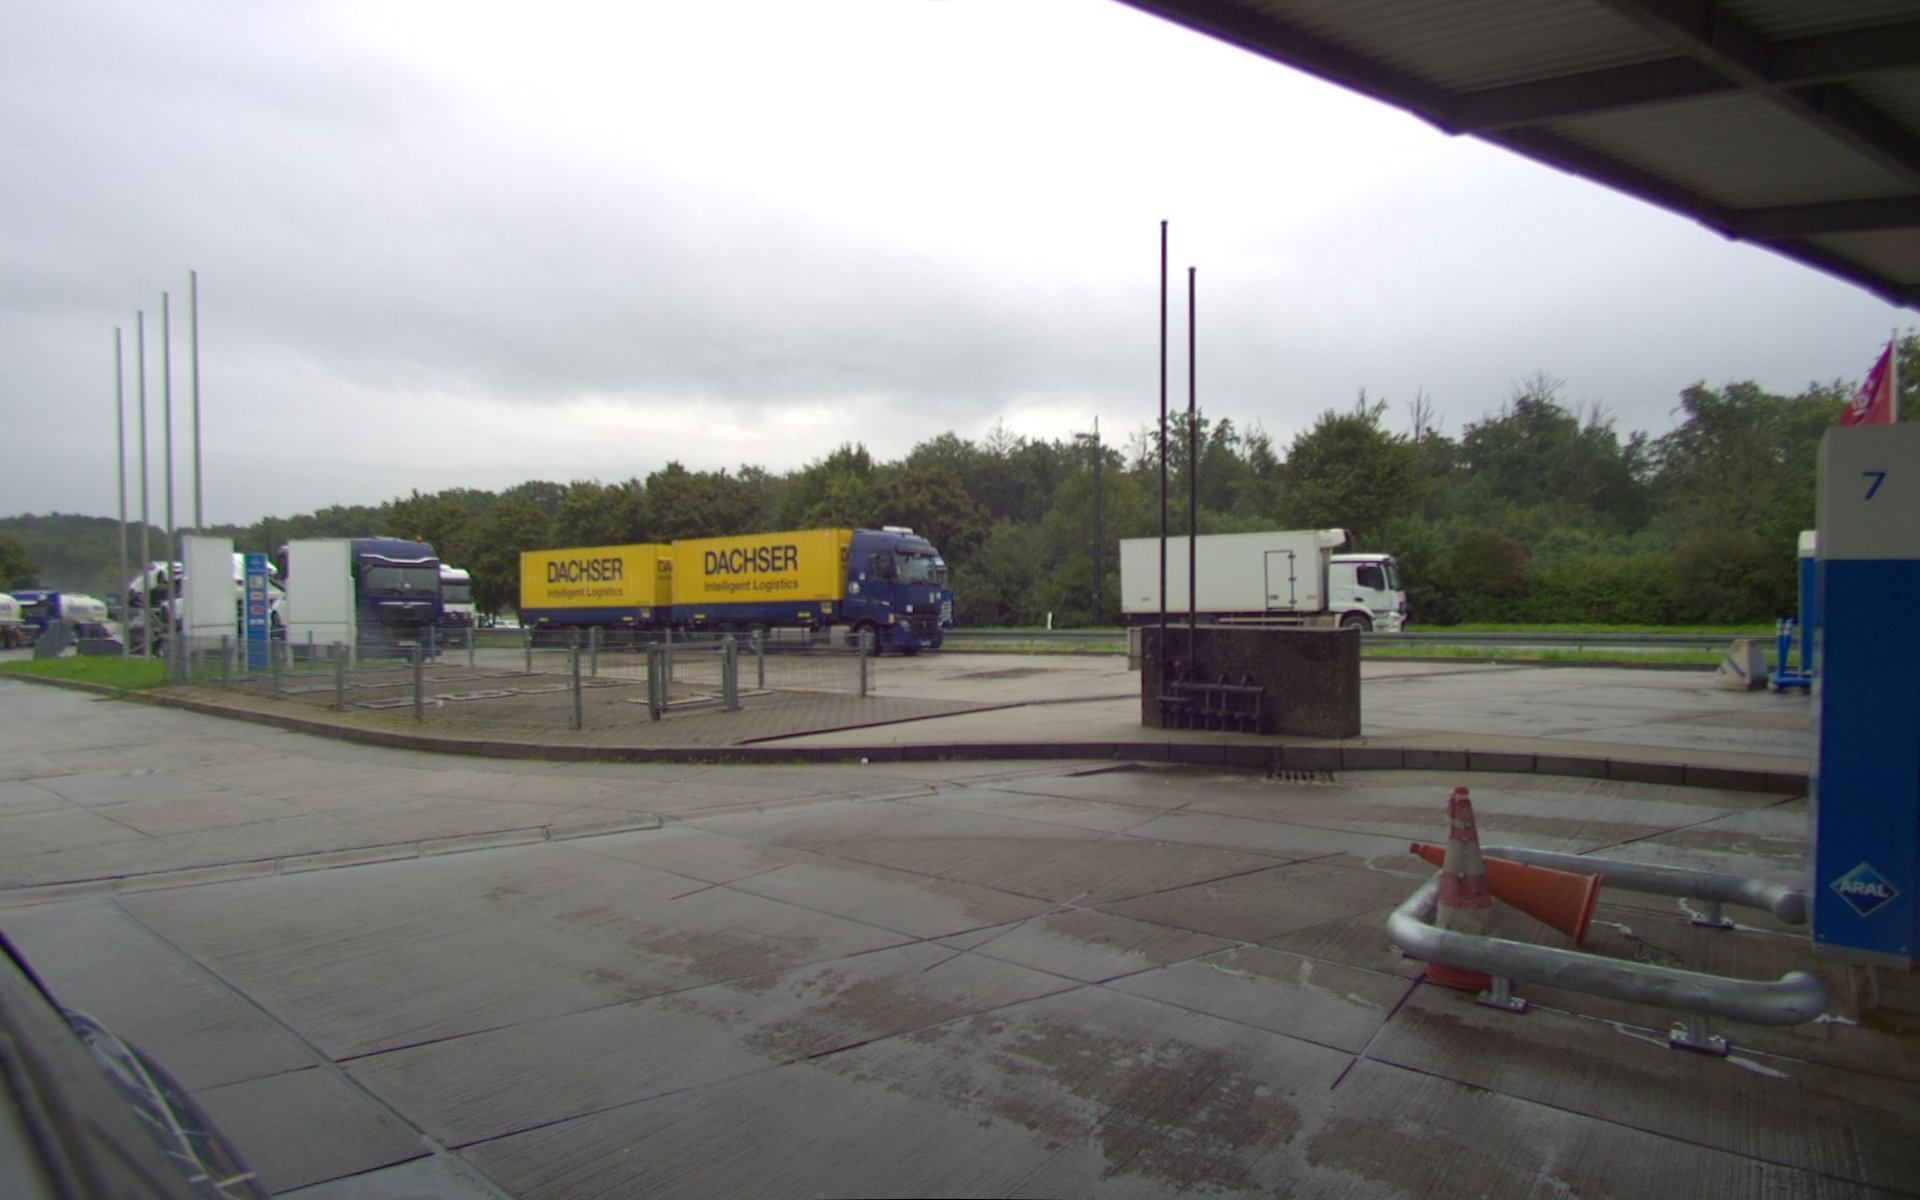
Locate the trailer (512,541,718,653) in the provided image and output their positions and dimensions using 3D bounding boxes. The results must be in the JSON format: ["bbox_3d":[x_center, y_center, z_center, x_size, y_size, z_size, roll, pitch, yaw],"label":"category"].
[{"bbox_3d":[-13.504,-0.071,39.274,8.679,3.946,2.728,-1,0,32],"label":"trailer"}]

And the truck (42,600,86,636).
[{"bbox_3d":[-109.620,2.152,123.802,11.525,4.160,3.101,-1,0,44],"label":"truck"}]

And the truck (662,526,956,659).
[{"bbox_3d":[-5.342,-0.176,34.044,10.654,3.946,2.727,-1,0,33],"label":"truck"}]

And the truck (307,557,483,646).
[{"bbox_3d":[-27.323,0.106,48.645,10.654,3.946,2.727,-1,0,33],"label":"truck"}]

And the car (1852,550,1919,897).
[{"bbox_3d":[6.904,0.545,3.815,5.269,1.620,1.842,-1,0,41],"label":"car"}]

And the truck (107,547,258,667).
[{"bbox_3d":[-29.594,0.301,38.463,6.605,4.213,2.635,-1,0,35],"label":"truck"}]

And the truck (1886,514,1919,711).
[{"bbox_3d":[14.987,0.127,11.969,5.859,2.513,2.208,-1,0,41],"label":"truck"}]

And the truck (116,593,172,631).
[{"bbox_3d":[-113.635,1.699,140.876,11.498,5.160,3.109,-1,0,36],"label":"truck"}]

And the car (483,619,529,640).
[{"bbox_3d":[-42.811,2.763,95.387,4.355,1.904,1.712,-1,0,30],"label":"car"}]

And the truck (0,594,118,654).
[{"bbox_3d":[-61.498,1.624,68.674,3.454,3.633,14.709,-1,-1,-27],"label":"truck"}]

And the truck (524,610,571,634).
[{"bbox_3d":[-40.245,2.161,98.695,4.620,2.282,1.712,-1,0,30],"label":"truck"}]

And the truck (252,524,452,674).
[{"bbox_3d":[-19.014,0.013,31.494,7.089,4.213,2.635,-1,0,35],"label":"truck"}]

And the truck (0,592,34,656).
[{"bbox_3d":[-55.160,1.341,53.706,3.454,3.633,14.444,-1,-1,-19],"label":"truck"}]

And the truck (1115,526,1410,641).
[{"bbox_3d":[10.965,-0.515,37.464,10.195,3.836,2.395,-1,0,31],"label":"truck"}]

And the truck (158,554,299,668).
[{"bbox_3d":[-26.112,0.398,36.090,4.738,3.800,2.635,-1,0,34],"label":"truck"}]

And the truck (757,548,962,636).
[{"bbox_3d":[-4.883,-0.312,47.659,10.195,3.836,2.395,-1,0,31],"label":"truck"}]
